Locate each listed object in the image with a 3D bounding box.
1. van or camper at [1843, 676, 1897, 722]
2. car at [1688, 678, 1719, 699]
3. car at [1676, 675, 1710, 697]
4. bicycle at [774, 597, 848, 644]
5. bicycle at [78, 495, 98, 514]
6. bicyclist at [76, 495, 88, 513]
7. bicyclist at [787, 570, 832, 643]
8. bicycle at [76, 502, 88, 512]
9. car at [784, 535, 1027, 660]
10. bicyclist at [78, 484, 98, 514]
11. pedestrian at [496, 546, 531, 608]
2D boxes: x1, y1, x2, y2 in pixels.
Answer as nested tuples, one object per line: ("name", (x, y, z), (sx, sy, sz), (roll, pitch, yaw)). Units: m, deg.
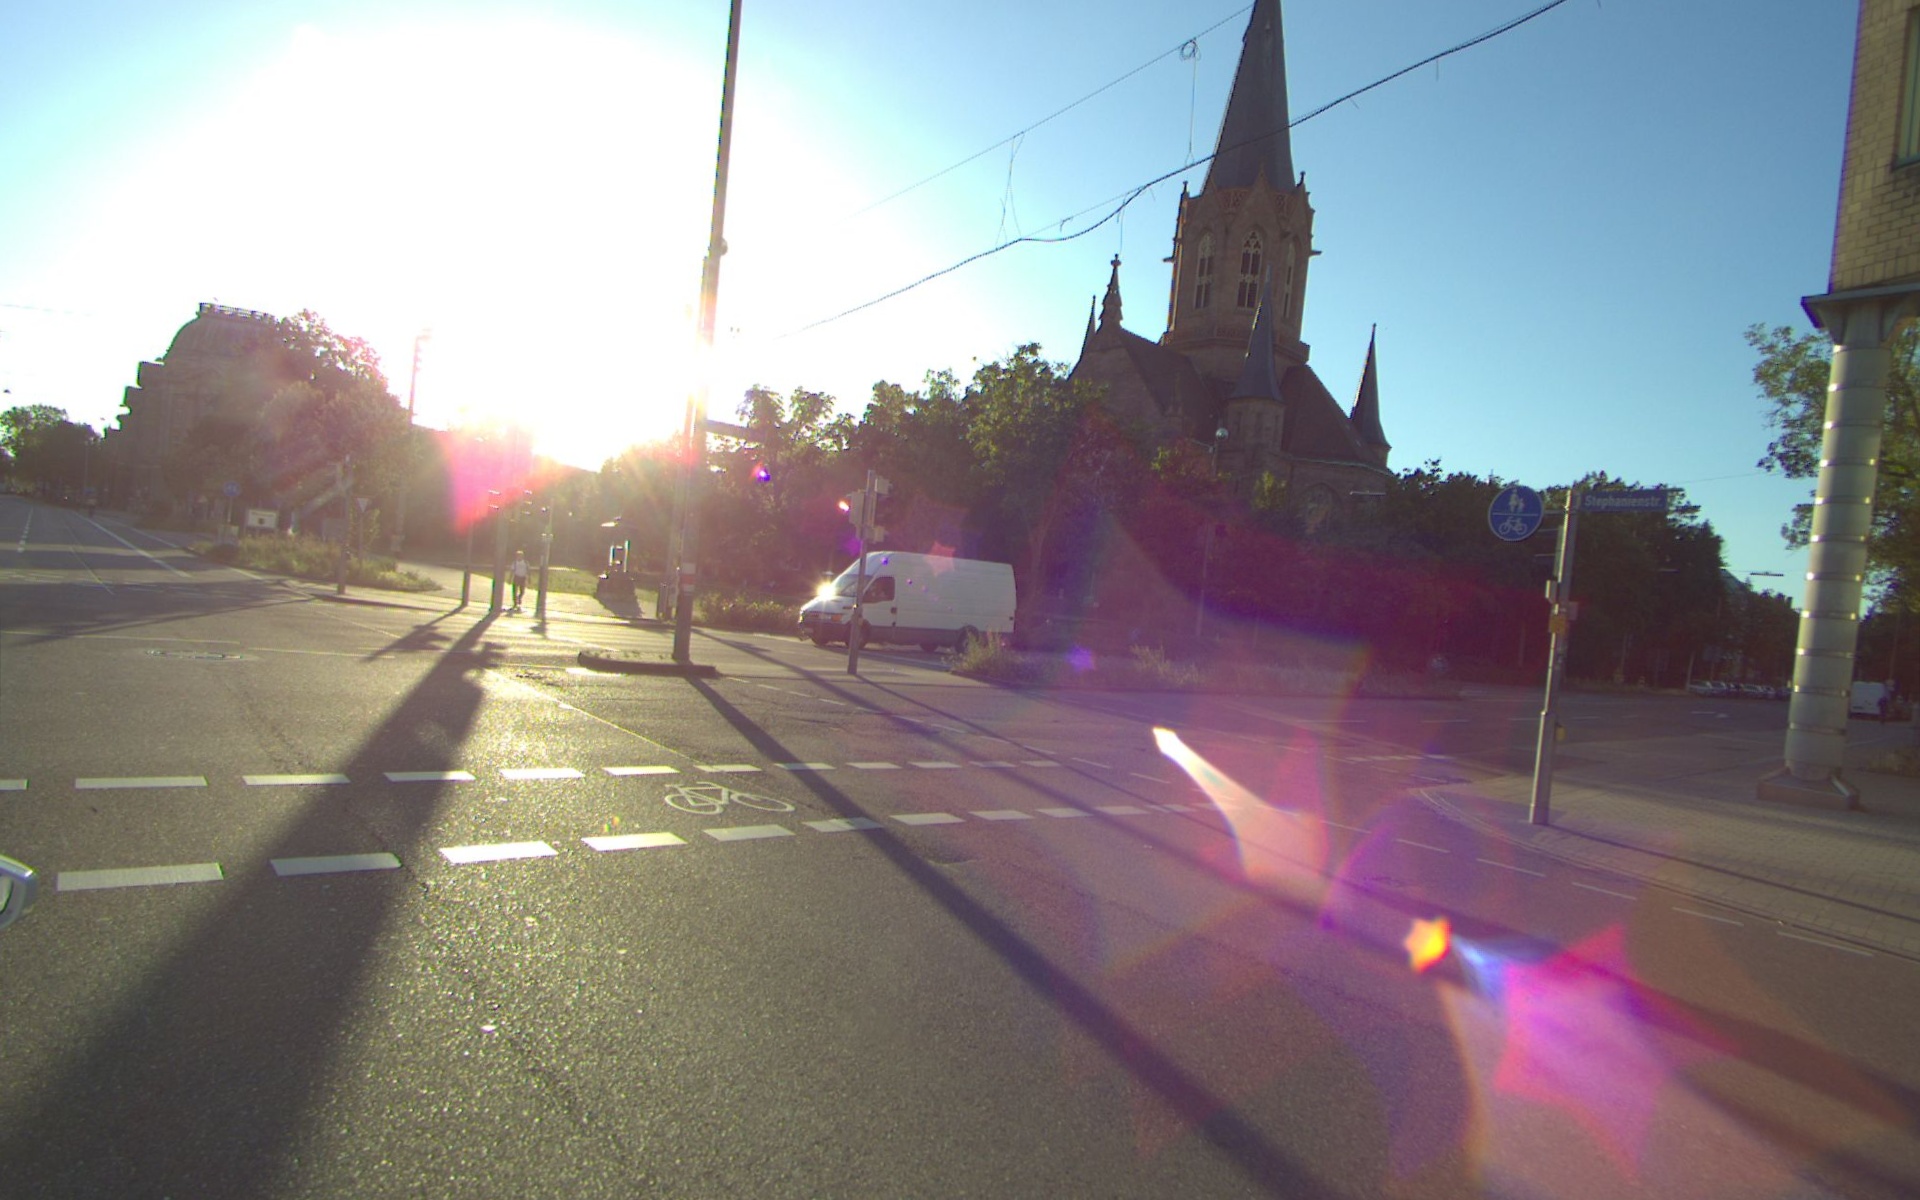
("van or camper", (64.452, 7.012, 71.213), (4.371, 2.879, 2.130), (6, 1, -42))
("car", (68.145, 8.092, 92.157), (1.971, 1.679, 3.982), (7, 1, 39))
("car", (64.717, 7.615, 88.801), (1.881, 1.638, 3.979), (7, 1, 42))
("bicycle", (-4.382, 0.611, 29.565), (1.956, 1.191, 0.727), (6, 1, -38))
("bicycle", (-73.774, -8.055, 85.082), (1.094, 1.417, 2.797), (5, 1, -43))
("bicyclist", (-105.604, -11.534, 120.995), (0.922, 2.039, 0.840), (5, 2, -43))
("bicyclist", (-4.404, 0.199, 29.504), (0.894, 2.040, 0.714), (5, 2, -38))
("bicycle", (-105.645, -11.192, 121.023), (0.921, 1.125, 2.305), (5, 1, -43))
("car", (-1.394, 0.027, 28.929), (6.982, 2.863, 2.068), (6, 1, -42))
("bicyclist", (-73.737, -8.529, 85.069), (1.078, 2.305, 0.974), (5, 2, -43))
("pedestrian", (-14.058, -0.724, 31.652), (0.825, 1.826, 0.805), (5, 2, -27))
